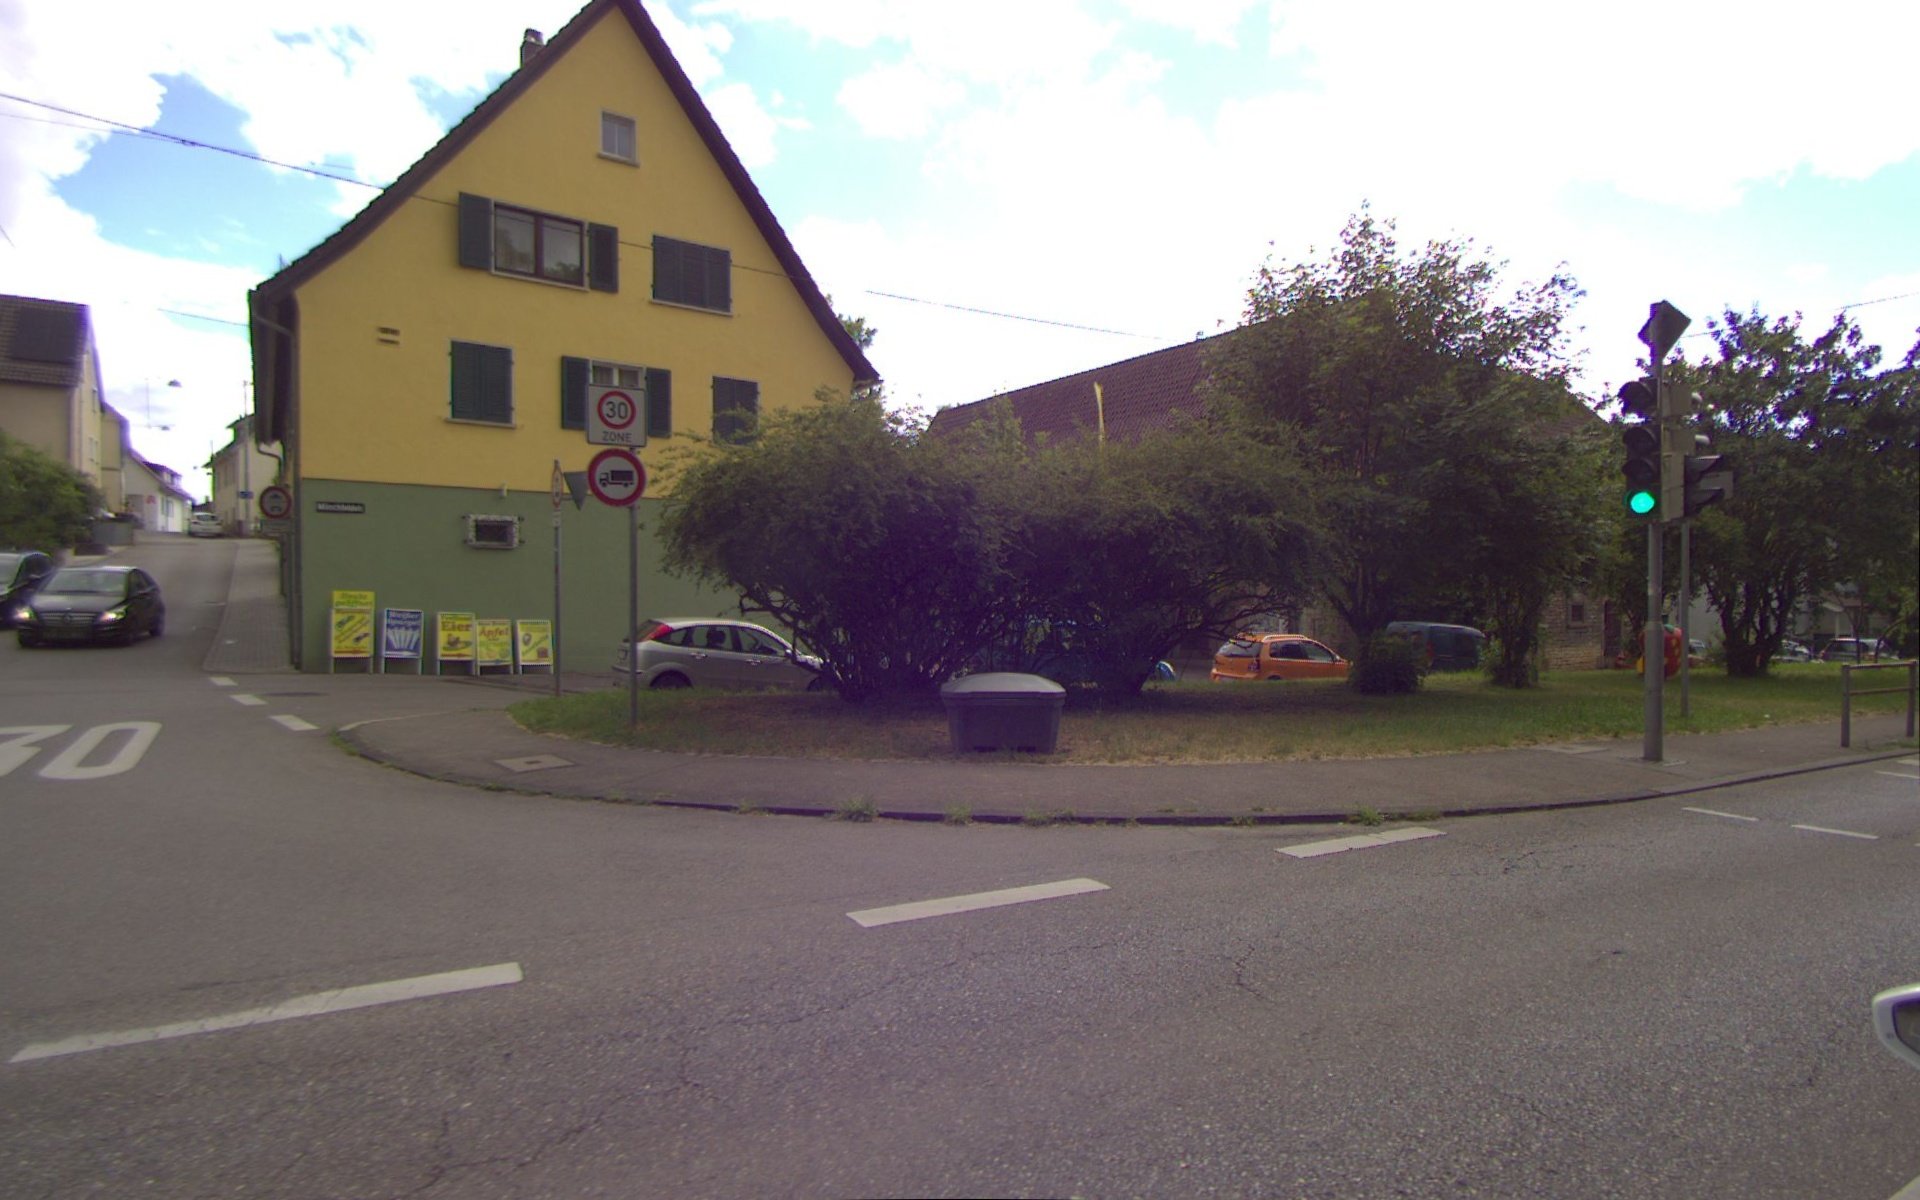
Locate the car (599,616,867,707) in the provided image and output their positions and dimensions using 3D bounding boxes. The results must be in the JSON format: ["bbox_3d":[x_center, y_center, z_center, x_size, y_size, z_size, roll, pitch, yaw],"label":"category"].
[{"bbox_3d":[-3.749,0.962,16.809,4.104,1.362,1.637,1,-2,-31],"label":"car"}]

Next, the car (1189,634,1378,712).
[{"bbox_3d":[7.410,1.600,23.021,3.950,1.639,1.941,1,-2,-28],"label":"car"}]

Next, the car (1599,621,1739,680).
[{"bbox_3d":[20.907,1.457,29.608,3.950,1.639,1.805,1,-2,-28],"label":"car"}]

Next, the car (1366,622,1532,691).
[{"bbox_3d":[12.397,1.385,25.457,3.950,1.639,1.805,1,-2,-28],"label":"car"}]

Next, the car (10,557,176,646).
[{"bbox_3d":[-18.255,-0.032,21.355,1.923,1.617,3.967,1,3,-30],"label":"car"}]

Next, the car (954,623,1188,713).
[{"bbox_3d":[2.274,1.311,20.358,4.393,1.639,1.985,1,-2,-29],"label":"car"}]

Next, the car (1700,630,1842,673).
[{"bbox_3d":[25.733,1.589,31.890,3.945,1.294,1.988,1,-2,-25],"label":"car"}]

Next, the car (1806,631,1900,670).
[{"bbox_3d":[30.958,1.721,34.828,2.519,1.294,1.548,1,-2,-25],"label":"car"}]

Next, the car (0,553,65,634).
[{"bbox_3d":[-22.313,-0.217,22.993,1.923,1.617,3.967,2,2,-30],"label":"car"}]

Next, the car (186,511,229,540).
[{"bbox_3d":[-48.258,-4.789,64.378,1.984,1.550,3.954,5,0,-39],"label":"car"}]

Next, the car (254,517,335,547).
[{"bbox_3d":[-41.455,-4.202,62.593,3.970,1.612,1.976,2,1,-42],"label":"car"}]
